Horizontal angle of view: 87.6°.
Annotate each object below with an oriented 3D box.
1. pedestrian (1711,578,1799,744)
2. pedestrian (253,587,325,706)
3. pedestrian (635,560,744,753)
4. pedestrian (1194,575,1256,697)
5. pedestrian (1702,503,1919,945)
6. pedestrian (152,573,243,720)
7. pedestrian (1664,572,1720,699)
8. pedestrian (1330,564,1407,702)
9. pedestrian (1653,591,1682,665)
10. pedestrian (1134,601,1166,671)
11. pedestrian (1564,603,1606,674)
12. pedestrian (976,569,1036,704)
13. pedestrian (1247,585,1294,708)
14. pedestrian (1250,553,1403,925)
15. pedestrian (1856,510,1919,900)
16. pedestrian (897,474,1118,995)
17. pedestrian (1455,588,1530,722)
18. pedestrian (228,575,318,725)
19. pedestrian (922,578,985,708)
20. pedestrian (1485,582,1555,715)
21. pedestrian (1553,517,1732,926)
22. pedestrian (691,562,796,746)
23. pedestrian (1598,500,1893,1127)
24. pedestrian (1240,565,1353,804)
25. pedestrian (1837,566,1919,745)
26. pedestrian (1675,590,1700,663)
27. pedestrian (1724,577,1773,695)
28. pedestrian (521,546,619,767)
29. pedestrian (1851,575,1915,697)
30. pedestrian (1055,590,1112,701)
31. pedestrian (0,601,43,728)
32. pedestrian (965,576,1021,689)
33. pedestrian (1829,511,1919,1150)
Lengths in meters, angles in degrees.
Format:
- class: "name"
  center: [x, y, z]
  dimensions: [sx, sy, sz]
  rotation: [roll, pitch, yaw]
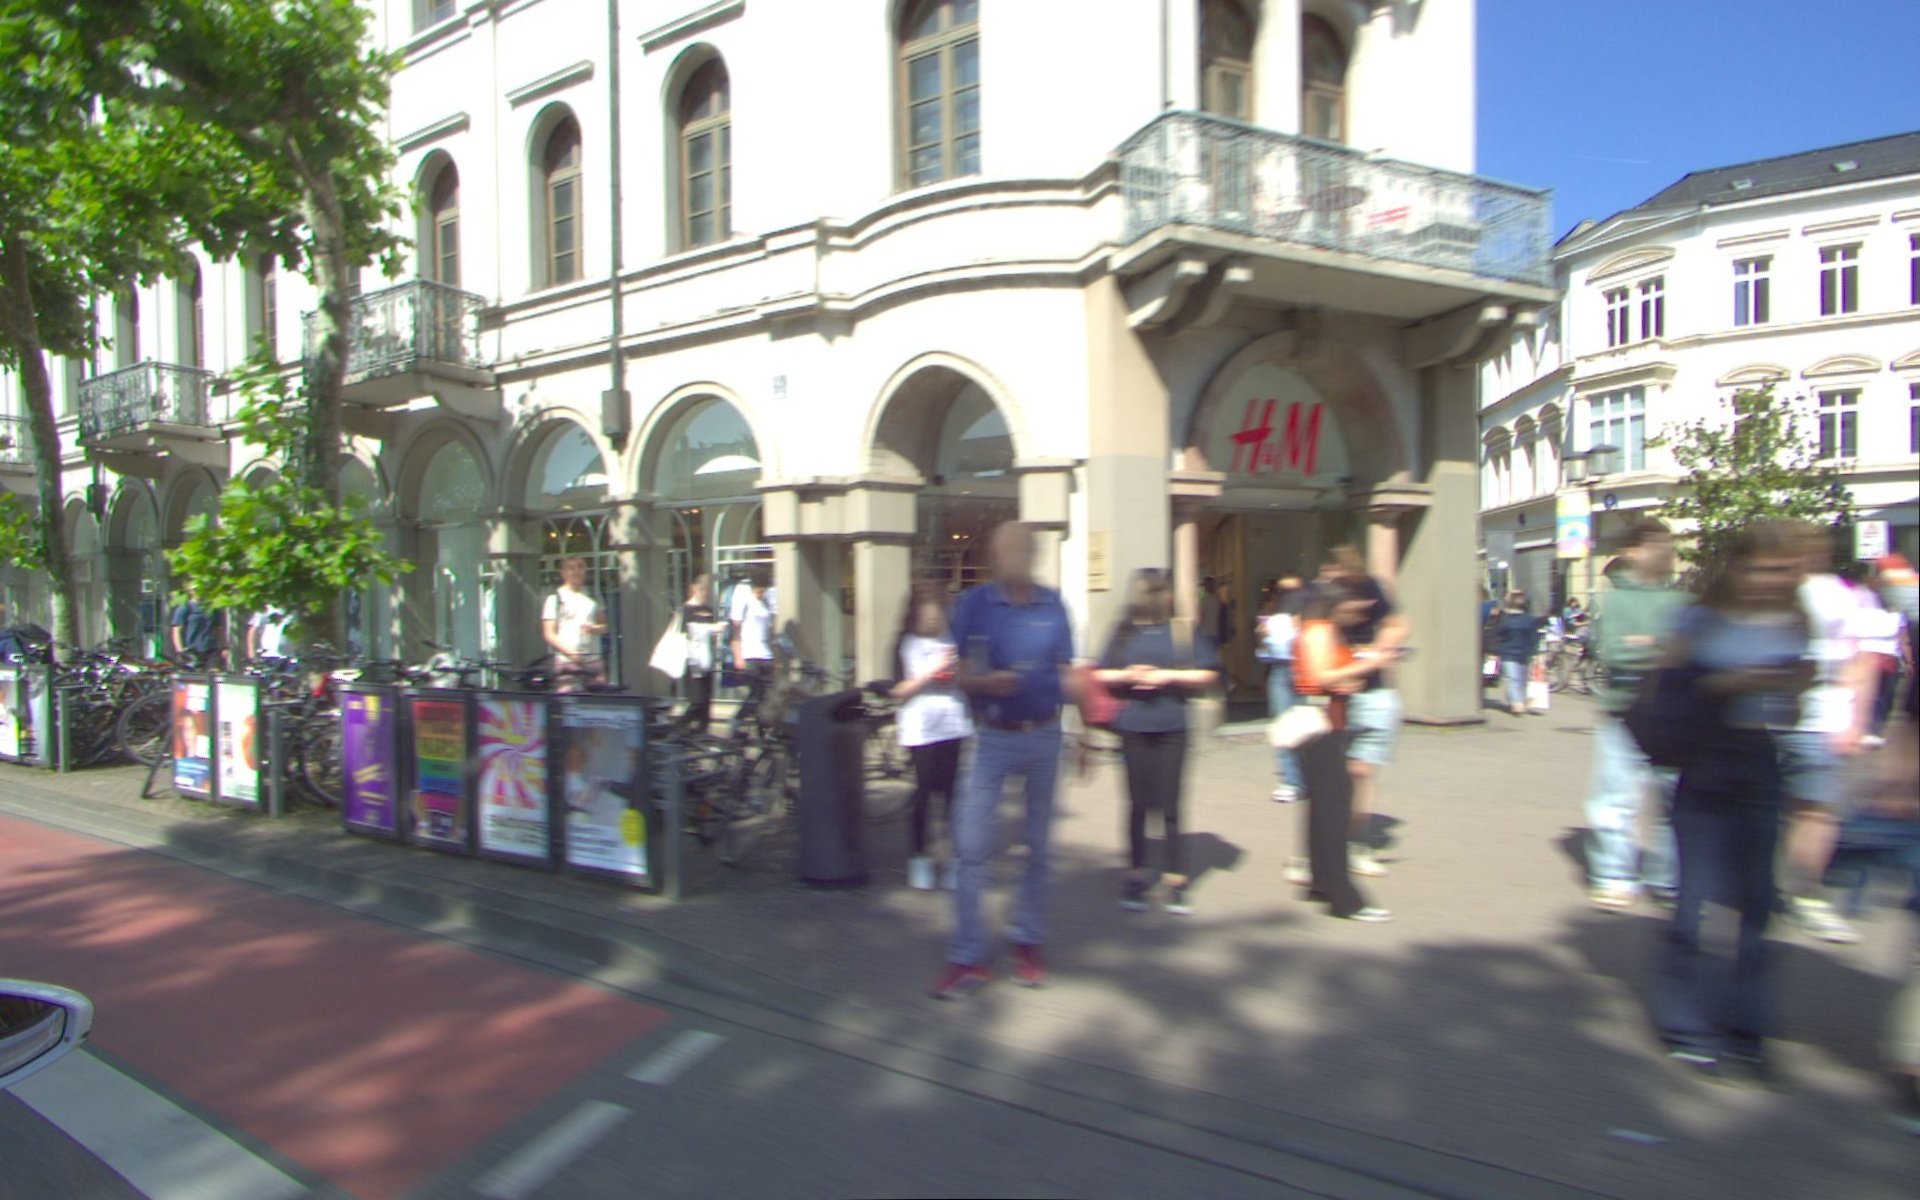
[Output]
- class: "pedestrian"
  center: [8.389, 0.632, 10.598]
  dimensions: [0.613, 1.668, 0.795]
  rotation: [0, -2, 31]
- class: "pedestrian"
  center: [-9.980, 0.687, 14.899]
  dimensions: [0.666, 1.718, 0.655]
  rotation: [-1, -2, 32]
- class: "pedestrian"
  center: [-2.609, 0.536, 9.671]
  dimensions: [0.742, 1.762, 0.674]
  rotation: [0, -2, 29]
- class: "pedestrian"
  center: [3.842, 0.520, 14.528]
  dimensions: [0.694, 1.713, 0.708]
  rotation: [-1, -2, 32]
- class: "pedestrian"
  center: [3.703, 0.508, 4.397]
  dimensions: [0.612, 1.762, 0.576]
  rotation: [0, -2, 28]
- class: "pedestrian"
  center: [-10.343, 0.624, 13.589]
  dimensions: [0.765, 1.926, 0.700]
  rotation: [0, -2, 29]
- class: "pedestrian"
  center: [11.086, 0.534, 15.177]
  dimensions: [0.613, 1.869, 0.576]
  rotation: [0, -2, 31]
- class: "pedestrian"
  center: [5.686, 0.467, 13.969]
  dimensions: [0.777, 1.869, 0.621]
  rotation: [1, -1, -18]
- class: "pedestrian"
  center: [18.113, 0.717, 25.636]
  dimensions: [0.461, 1.869, 0.500]
  rotation: [2, -2, -43]
- class: "pedestrian"
  center: [4.017, 0.759, 21.167]
  dimensions: [0.610, 1.462, 0.578]
  rotation: [0, -1, 6]
- class: "pedestrian"
  center: [13.643, 0.835, 21.857]
  dimensions: [0.512, 1.521, 0.626]
  rotation: [0, -1, 0]
- class: "pedestrian"
  center: [0.631, 0.502, 13.739]
  dimensions: [0.612, 1.787, 0.605]
  rotation: [1, -2, -25]
- class: "pedestrian"
  center: [4.503, 0.671, 14.488]
  dimensions: [0.568, 1.684, 0.623]
  rotation: [1, -9, 21]
- class: "pedestrian"
  center: [1.737, 0.613, 4.728]
  dimensions: [0.612, 1.604, 0.576]
  rotation: [0, -2, 28]
- class: "pedestrian"
  center: [4.895, 0.500, 4.842]
  dimensions: [0.688, 1.827, 0.648]
  rotation: [0, -2, 30]
- class: "pedestrian"
  center: [0.204, 0.495, 4.023]
  dimensions: [0.706, 1.869, 0.576]
  rotation: [0, -2, 28]
- class: "pedestrian"
  center: [6.242, 0.636, 11.757]
  dimensions: [0.610, 1.531, 0.578]
  rotation: [0, -1, 8]
- class: "pedestrian"
  center: [-8.645, 0.628, 12.604]
  dimensions: [0.765, 1.816, 0.633]
  rotation: [0, -2, 29]
- class: "pedestrian"
  center: [-0.092, 0.577, 13.470]
  dimensions: [0.612, 1.689, 0.685]
  rotation: [1, -2, -25]
- class: "pedestrian"
  center: [6.895, 0.595, 12.349]
  dimensions: [0.580, 1.588, 0.578]
  rotation: [0, -1, 8]
- class: "pedestrian"
  center: [3.154, 0.532, 4.685]
  dimensions: [0.612, 1.746, 0.576]
  rotation: [0, -2, 28]
- class: "pedestrian"
  center: [-2.227, 0.544, 10.327]
  dimensions: [0.765, 1.805, 0.719]
  rotation: [0, -2, 29]
- class: "pedestrian"
  center: [2.401, 0.593, 3.140]
  dimensions: [0.612, 1.706, 0.576]
  rotation: [0, -2, 28]
- class: "pedestrian"
  center: [2.372, 0.580, 7.096]
  dimensions: [0.509, 1.604, 0.581]
  rotation: [1, -1, -20]
- class: "pedestrian"
  center: [9.521, 0.561, 10.257]
  dimensions: [0.689, 1.777, 0.576]
  rotation: [-1, -2, 31]
- class: "pedestrian"
  center: [18.892, 0.693, 26.010]
  dimensions: [0.476, 1.869, 0.433]
  rotation: [2, -2, -43]
- class: "pedestrian"
  center: [12.826, 0.593, 16.305]
  dimensions: [0.528, 1.869, 0.690]
  rotation: [0, -2, 31]
- class: "pedestrian"
  center: [-3.511, 0.496, 9.026]
  dimensions: [0.593, 1.906, 0.545]
  rotation: [0, -2, 29]
- class: "pedestrian"
  center: [14.425, 0.562, 15.664]
  dimensions: [0.613, 1.869, 0.576]
  rotation: [0, -2, 31]
- class: "pedestrian"
  center: [1.917, 0.706, 15.602]
  dimensions: [0.612, 1.689, 0.685]
  rotation: [1, -2, -25]
- class: "pedestrian"
  center: [-11.996, 0.797, 12.510]
  dimensions: [0.657, 1.557, 0.604]
  rotation: [0, -2, 29]
- class: "pedestrian"
  center: [0.502, 0.499, 15.373]
  dimensions: [0.612, 1.689, 0.685]
  rotation: [1, -2, -25]
- class: "pedestrian"
  center: [2.874, 0.609, 2.787]
  dimensions: [0.582, 1.707, 0.566]
  rotation: [0, 2, 31]
